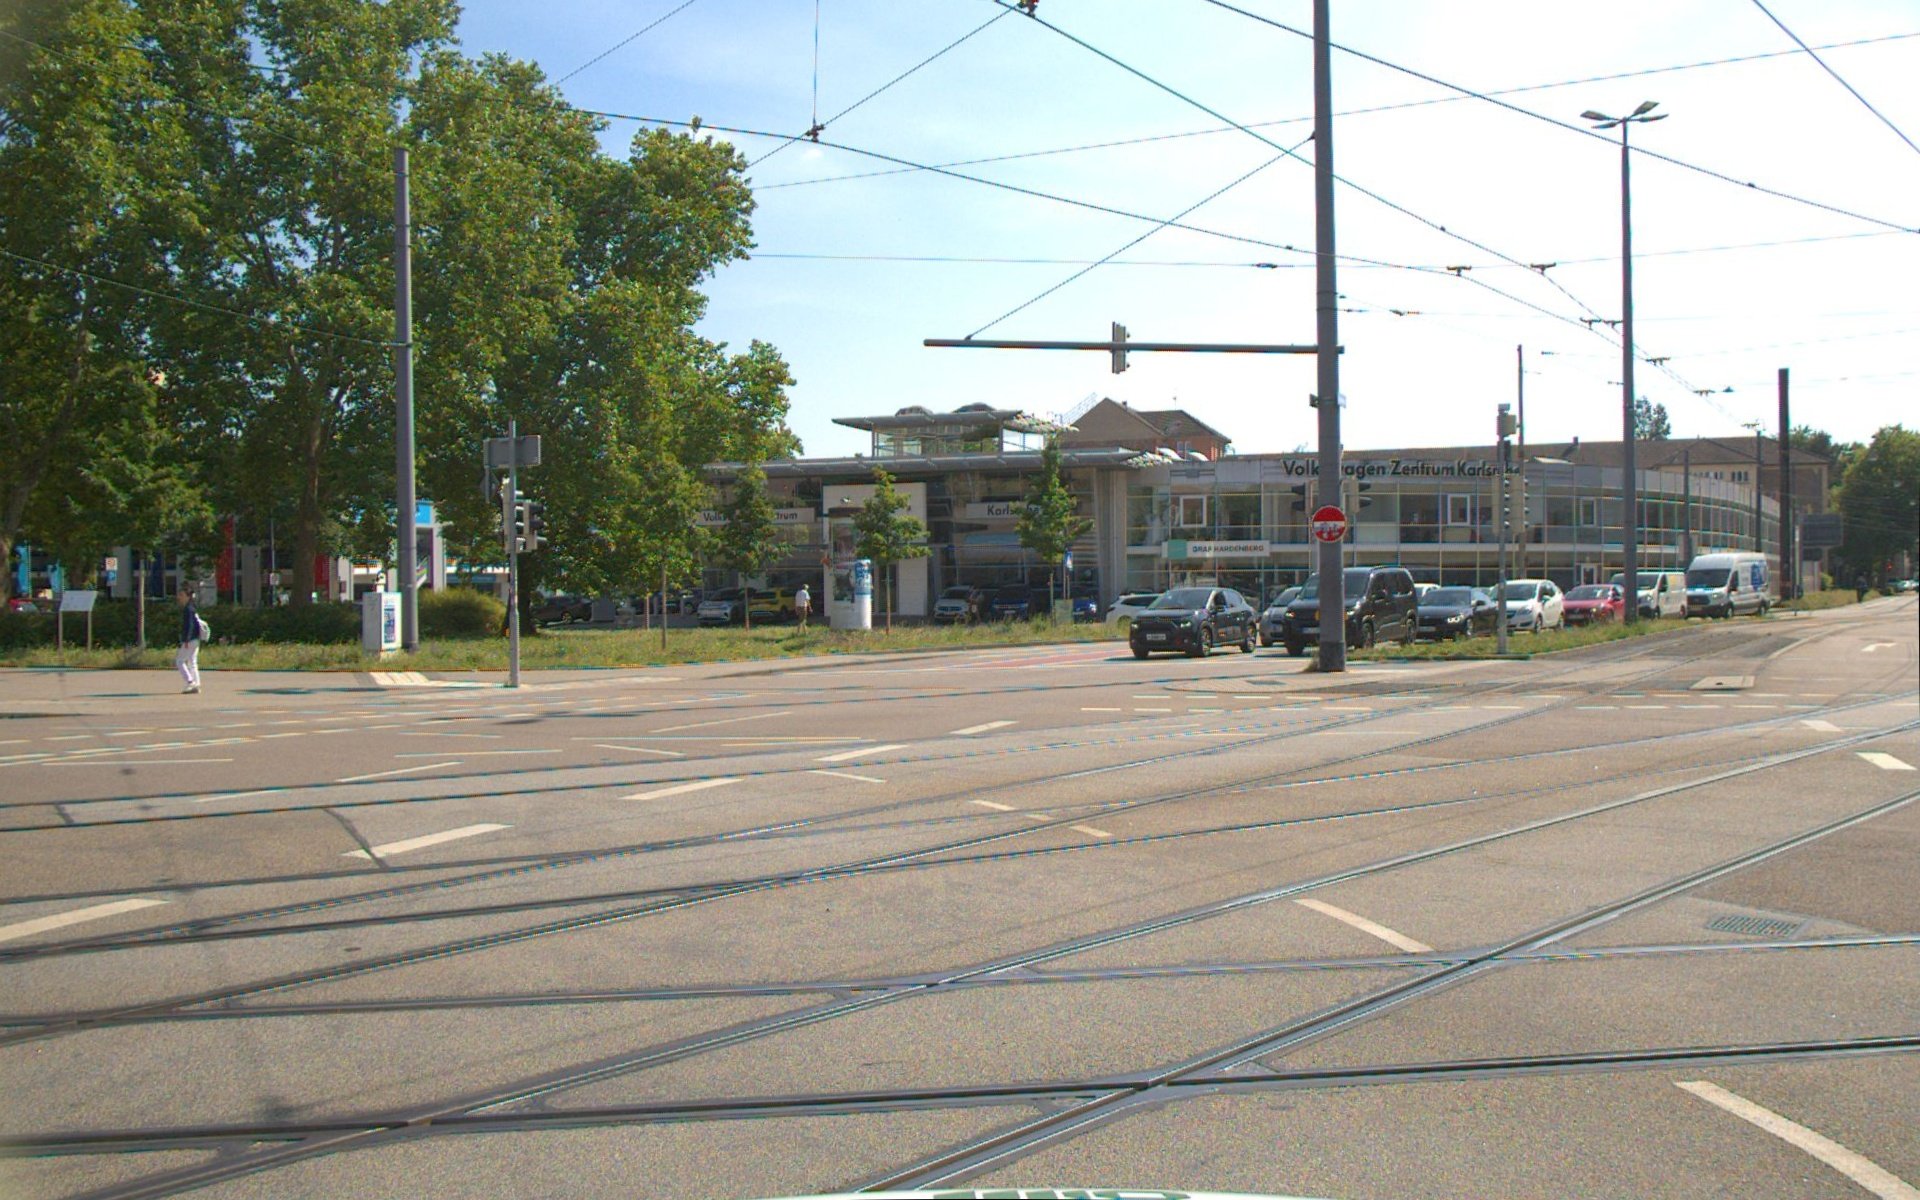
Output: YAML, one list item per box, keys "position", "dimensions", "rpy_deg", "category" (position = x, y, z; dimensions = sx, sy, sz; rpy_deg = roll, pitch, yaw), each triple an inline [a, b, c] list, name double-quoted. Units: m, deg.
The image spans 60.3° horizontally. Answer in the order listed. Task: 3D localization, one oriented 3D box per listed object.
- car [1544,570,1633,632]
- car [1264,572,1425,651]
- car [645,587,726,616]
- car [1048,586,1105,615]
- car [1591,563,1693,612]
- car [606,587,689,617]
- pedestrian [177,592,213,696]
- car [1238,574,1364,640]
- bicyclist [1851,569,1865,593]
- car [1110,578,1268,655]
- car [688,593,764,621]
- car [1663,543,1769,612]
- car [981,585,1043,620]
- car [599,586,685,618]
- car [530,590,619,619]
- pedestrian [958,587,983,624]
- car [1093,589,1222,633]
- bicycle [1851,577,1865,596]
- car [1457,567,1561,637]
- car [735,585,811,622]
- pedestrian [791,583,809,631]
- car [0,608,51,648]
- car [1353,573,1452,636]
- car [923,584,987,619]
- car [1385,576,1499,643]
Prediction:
- position: [20.666, 0.063, 54.306]
  dimensions: [1.861, 1.950, 4.188]
  rpy_deg: [-1, -1, 33]
  category: "car"
- position: [8.511, 0.267, 36.328]
  dimensions: [1.926, 1.615, 4.702]
  rpy_deg: [-1, -1, 33]
  category: "car"
- position: [-15.194, 0.061, 91.615]
  dimensions: [3.902, 1.534, 2.002]
  rpy_deg: [-1, 0, 15]
  category: "car"
- position: [5.282, 0.027, 74.348]
  dimensions: [1.791, 1.216, 4.003]
  rpy_deg: [2, 1, 15]
  category: "car"
- position: [25.003, -0.476, 60.522]
  dimensions: [2.151, 1.710, 5.005]
  rpy_deg: [-1, 0, 39]
  category: "car"
- position: [-16.797, 0.086, 88.998]
  dimensions: [3.902, 1.534, 2.002]
  rpy_deg: [-1, 0, 15]
  category: "car"
- position: [-12.177, 0.695, 26.326]
  dimensions: [0.446, 1.633, 0.398]
  rpy_deg: [1, 0, -19]
  category: "pedestrian"
- position: [8.851, 0.203, 42.712]
  dimensions: [1.861, 1.615, 3.988]
  rpy_deg: [-1, -1, 34]
  category: "car"
- position: [60.598, -1.293, 111.612]
  dimensions: [0.738, 1.595, 1.085]
  rpy_deg: [1, 0, 30]
  category: "bicyclist"
- position: [5.156, 0.365, 36.820]
  dimensions: [1.858, 1.615, 4.197]
  rpy_deg: [-1, -1, 33]
  category: "car"
- position: [-11.334, 0.346, 80.347]
  dimensions: [1.953, 1.266, 4.000]
  rpy_deg: [1, 1, 21]
  category: "car"
- position: [30.279, -0.867, 66.136]
  dimensions: [2.177, 2.620, 5.838]
  rpy_deg: [1, 0, 42]
  category: "car"
- position: [2.405, 0.082, 75.638]
  dimensions: [1.951, 1.512, 4.003]
  rpy_deg: [1, 1, 15]
  category: "car"
- position: [-16.529, 0.105, 86.118]
  dimensions: [3.902, 1.579, 2.002]
  rpy_deg: [-1, 0, 15]
  category: "car"
- position: [-19.541, 0.215, 83.857]
  dimensions: [3.903, 1.395, 2.001]
  rpy_deg: [1, 0, 16]
  category: "car"
- position: [0.465, 0.221, 72.946]
  dimensions: [0.933, 1.607, 0.535]
  rpy_deg: [1, 0, 14]
  category: "pedestrian"
- position: [7.217, 0.395, 60.647]
  dimensions: [4.500, 1.461, 1.441]
  rpy_deg: [2, 0, 31]
  category: "car"
- position: [60.570, -0.884, 111.585]
  dimensions: [0.738, 1.215, 2.833]
  rpy_deg: [1, 0, 30]
  category: "bicycle"
- position: [15.979, 0.081, 48.010]
  dimensions: [1.861, 1.950, 4.188]
  rpy_deg: [-1, -1, 33]
  category: "car"
- position: [-9.012, 0.183, 80.048]
  dimensions: [1.953, 1.713, 4.000]
  rpy_deg: [1, 0, 21]
  category: "car"
- position: [-5.524, 0.239, 57.135]
  dimensions: [0.386, 1.623, 0.461]
  rpy_deg: [1, 0, 40]
  category: "pedestrian"
- position: [-34.773, 0.971, 59.066]
  dimensions: [3.647, 1.363, 1.744]
  rpy_deg: [1, 0, 0]
  category: "car"
- position: [13.171, 0.153, 49.050]
  dimensions: [1.622, 1.769, 4.188]
  rpy_deg: [-1, -1, 33]
  category: "car"
- position: [-0.192, 0.054, 76.465]
  dimensions: [1.951, 1.512, 4.003]
  rpy_deg: [1, 1, 15]
  category: "car"
- position: [12.292, 0.252, 42.023]
  dimensions: [1.859, 1.615, 3.991]
  rpy_deg: [-1, -1, 31]
  category: "car"
